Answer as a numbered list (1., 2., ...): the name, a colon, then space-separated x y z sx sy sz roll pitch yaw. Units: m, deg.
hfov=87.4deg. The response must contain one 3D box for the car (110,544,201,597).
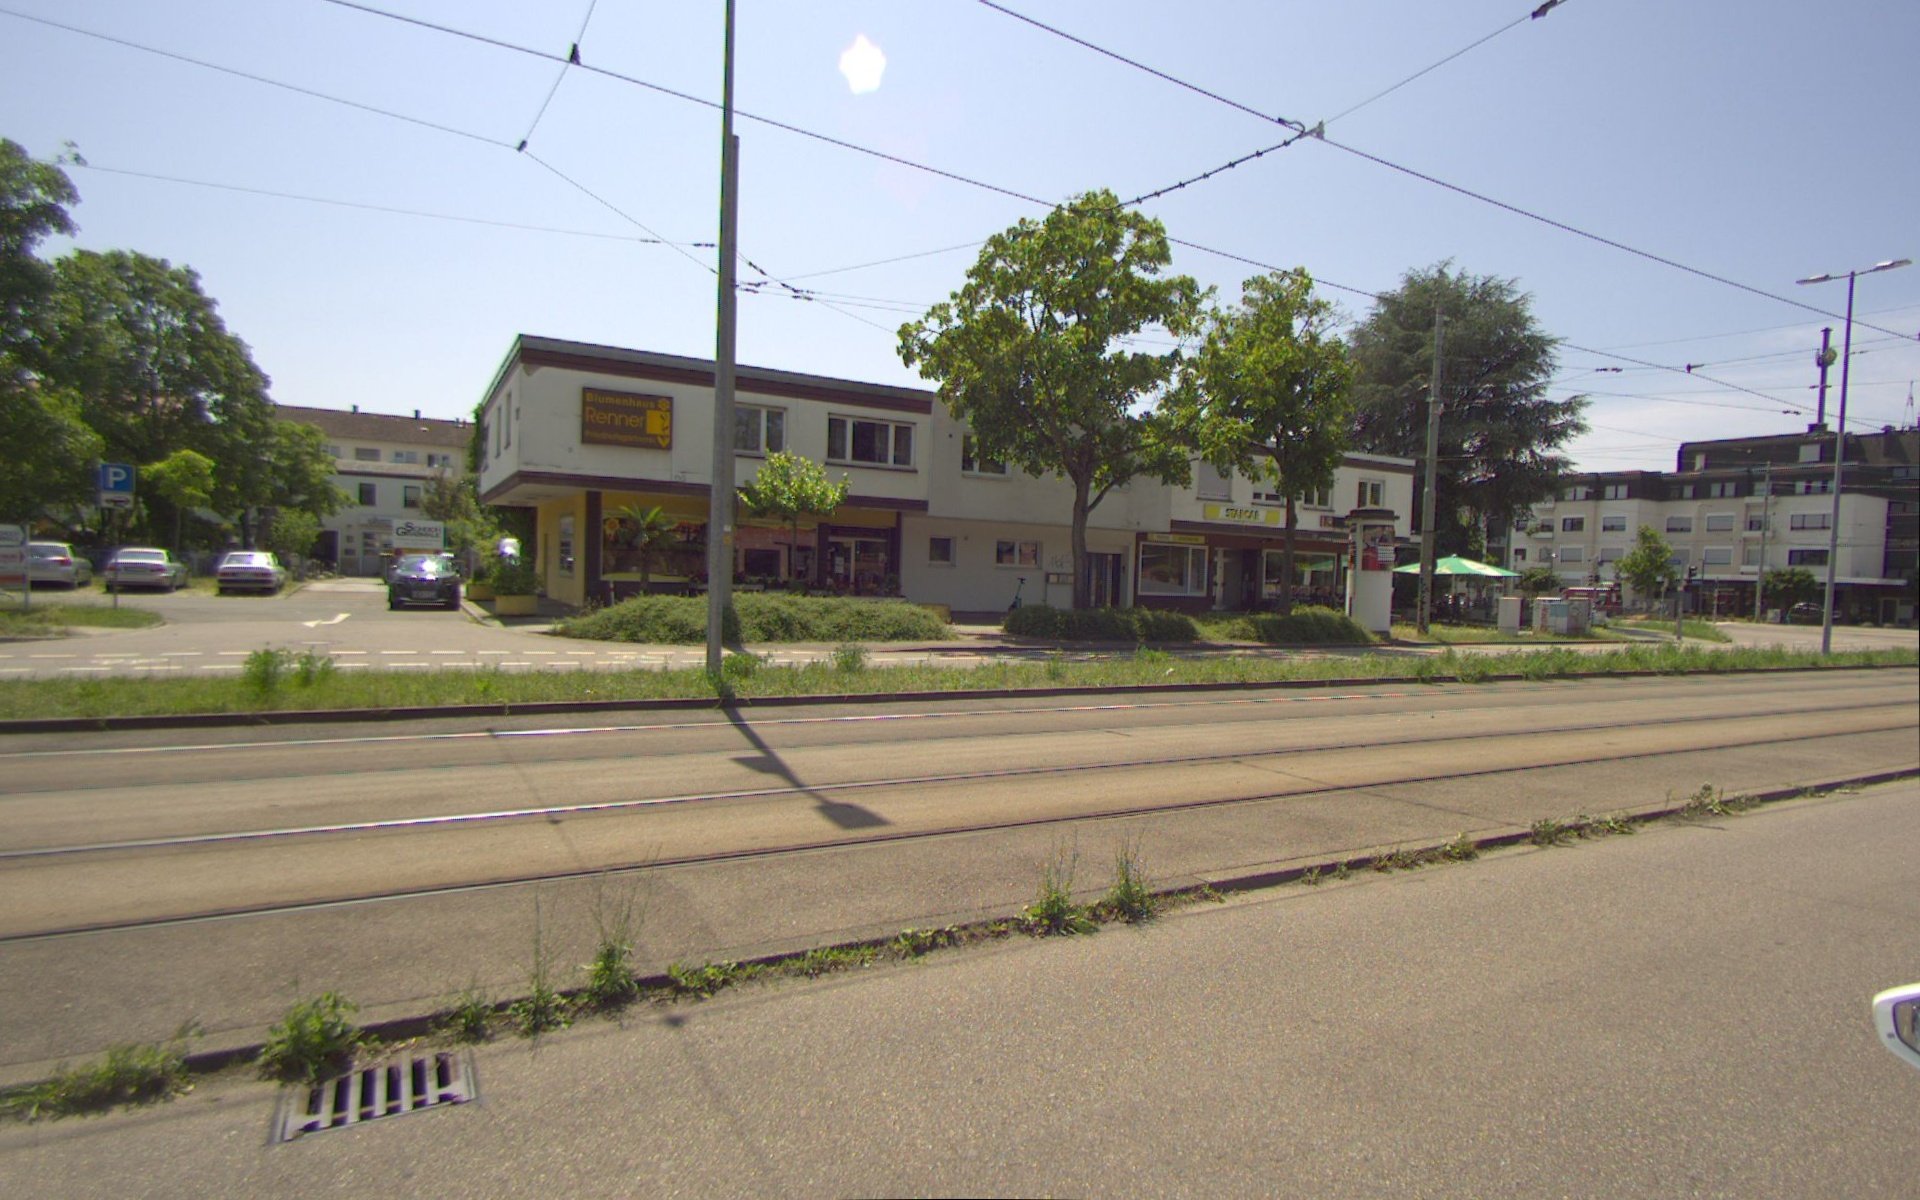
1. car: -26.672 -0.950 33.427 1.500 1.600 3.972 2 0 -27

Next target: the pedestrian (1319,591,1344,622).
1. pedestrian: 15.660 0.270 42.338 0.832 1.285 0.586 2 0 -30

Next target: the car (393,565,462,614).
1. car: -15.508 -0.339 29.333 1.660 1.314 3.971 0 2 -27

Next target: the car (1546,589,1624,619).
1. car: 52.427 0.277 84.345 2.219 2.372 5.039 2 0 -30

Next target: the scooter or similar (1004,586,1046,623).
1. scooter or similar: 2.213 0.142 34.295 1.321 1.207 0.455 2 0 -10

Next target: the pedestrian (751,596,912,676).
1. pedestrian: -3.572 0.992 27.908 3.953 2.040 1.984 2 0 -30

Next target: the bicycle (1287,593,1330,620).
1. bicycle: 13.607 0.241 39.191 1.738 0.992 0.536 2 0 -30

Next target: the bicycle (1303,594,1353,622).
1. bicycle: 13.870 0.312 37.844 2.005 0.992 0.607 2 0 -30

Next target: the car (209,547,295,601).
1. car: -24.223 -0.870 34.480 1.780 1.678 3.972 2 0 -27

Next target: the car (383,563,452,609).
1. car: -18.748 -0.470 34.851 1.975 1.440 4.116 1 0 -27

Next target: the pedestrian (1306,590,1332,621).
1. pedestrian: 15.322 0.229 42.884 0.832 1.285 0.586 2 0 -30

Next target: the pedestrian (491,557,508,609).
1. pedestrian: -16.521 -0.611 36.020 0.466 1.823 0.484 2 0 -30

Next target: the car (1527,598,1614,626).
1. car: 38.026 0.746 62.709 1.703 1.631 4.549 2 0 -20

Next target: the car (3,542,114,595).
1. car: -29.155 -0.970 32.608 1.639 1.540 3.972 2 0 -27
